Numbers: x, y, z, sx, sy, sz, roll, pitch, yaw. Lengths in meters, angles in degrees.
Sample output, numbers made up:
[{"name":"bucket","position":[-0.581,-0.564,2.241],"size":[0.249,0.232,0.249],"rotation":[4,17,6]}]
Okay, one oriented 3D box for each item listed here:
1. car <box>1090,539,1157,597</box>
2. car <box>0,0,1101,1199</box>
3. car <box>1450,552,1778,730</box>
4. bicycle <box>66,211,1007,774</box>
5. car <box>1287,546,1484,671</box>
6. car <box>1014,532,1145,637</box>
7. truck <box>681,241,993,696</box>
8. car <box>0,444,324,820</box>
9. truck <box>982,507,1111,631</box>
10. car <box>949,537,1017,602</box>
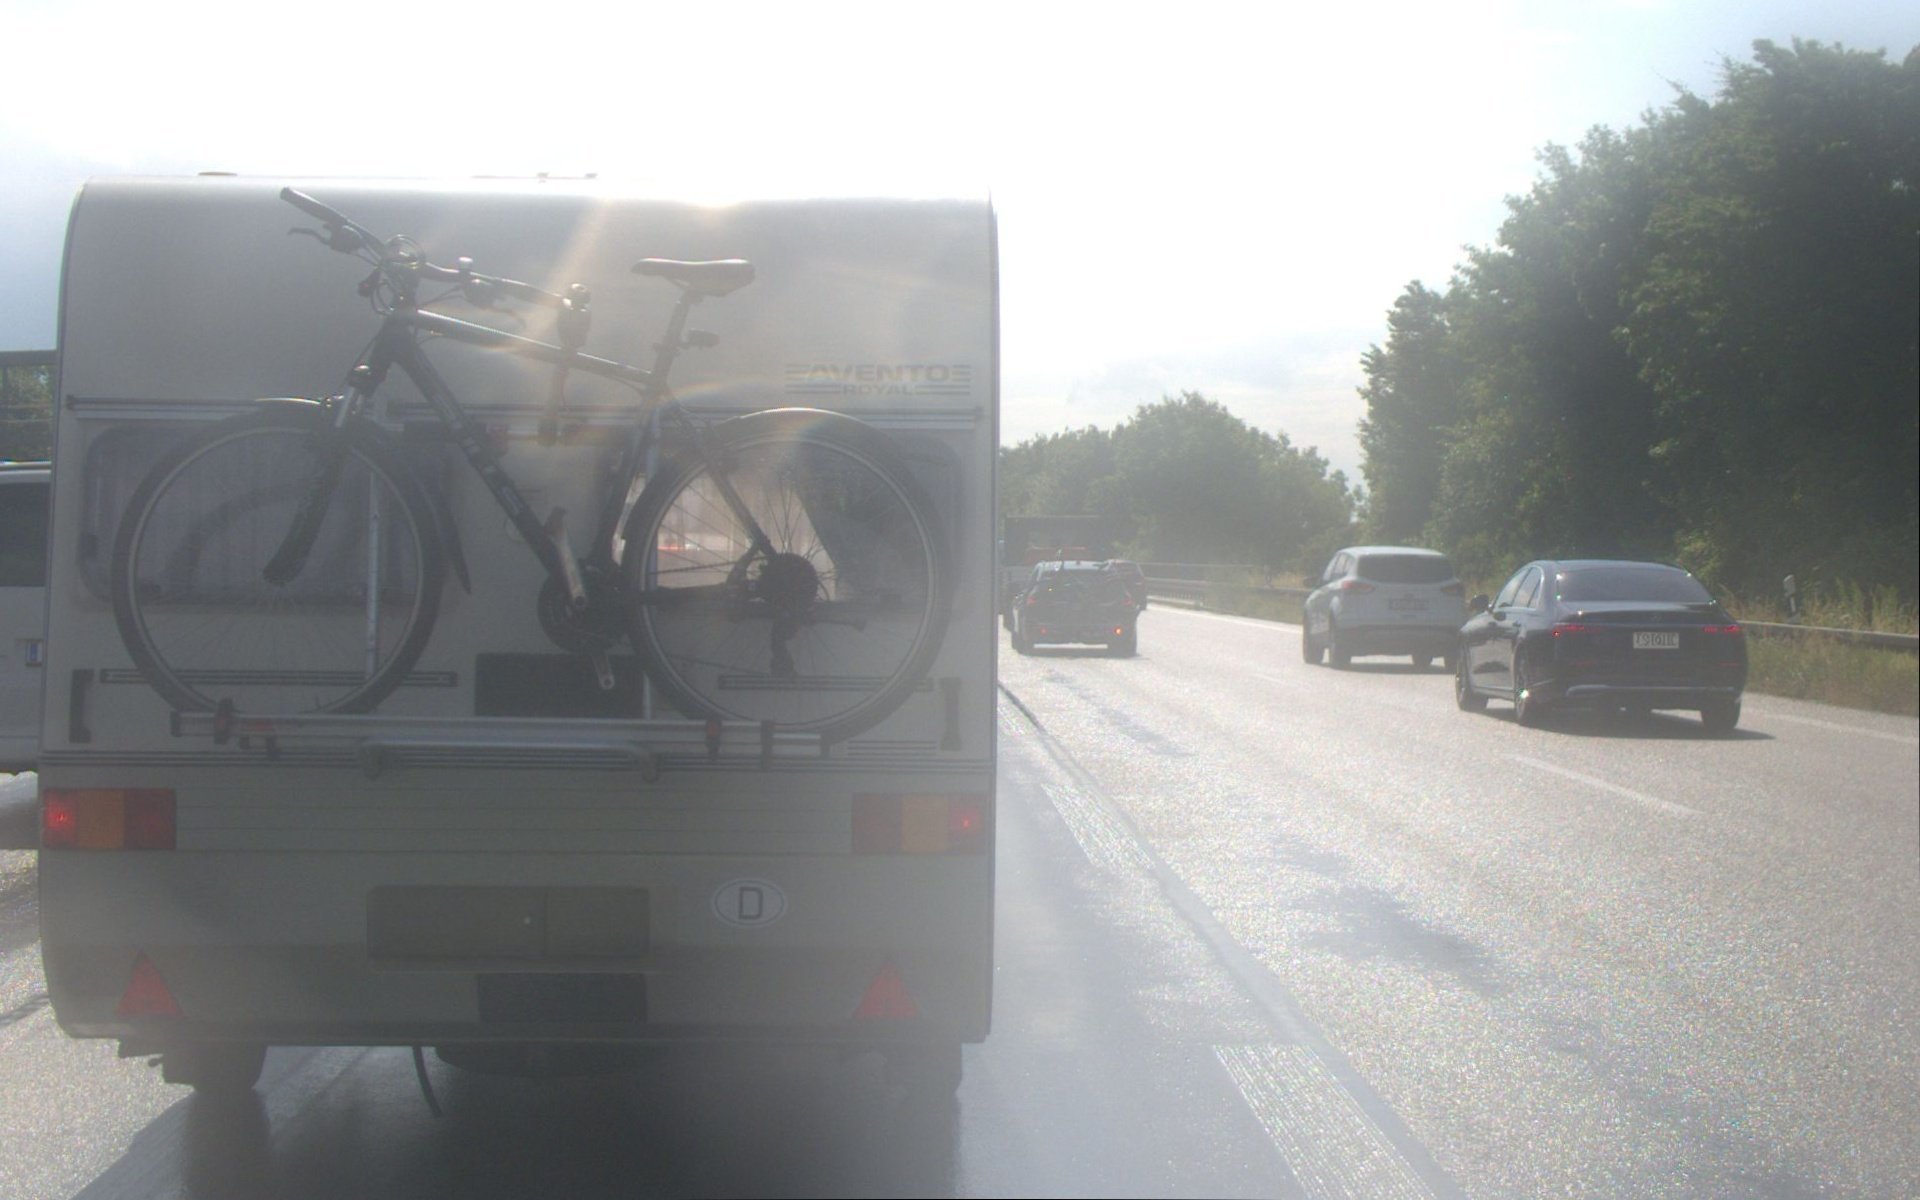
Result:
[{"name":"car","position":[4.805,-0.963,101.500],"size":[1.719,1.678,4.000],"rotation":[0,1,-1]},{"name":"car","position":[-0.937,-0.003,9.503],"size":[2.410,2.665,4.000],"rotation":[1,1,-1]},{"name":"car","position":[5.838,0.325,31.169],"size":[1.876,1.489,4.001],"rotation":[1,1,-5]},{"name":"bicycle","position":[-0.879,-0.223,7.314],"size":[1.933,1.137,0.384],"rotation":[1,0,-1]},{"name":"car","position":[5.822,0.089,47.491],"size":[1.876,1.623,4.001],"rotation":[1,1,-5]},{"name":"car","position":[1.821,-0.251,53.355],"size":[1.835,1.552,4.000],"rotation":[1,1,-1]},{"name":"truck","position":[-1.463,-1.410,40.355],"size":[3.146,4.610,10.737],"rotation":[0,1,-2]},{"name":"car","position":[-4.981,0.147,20.443],"size":[1.876,2.007,4.001],"rotation":[1,1,-4]},{"name":"truck","position":[1.725,-0.663,70.857],"size":[2.415,2.435,6.053],"rotation":[0,1,-1]},{"name":"car","position":[0.590,-0.822,91.140],"size":[1.719,1.678,4.000],"rotation":[0,1,-1]}]
